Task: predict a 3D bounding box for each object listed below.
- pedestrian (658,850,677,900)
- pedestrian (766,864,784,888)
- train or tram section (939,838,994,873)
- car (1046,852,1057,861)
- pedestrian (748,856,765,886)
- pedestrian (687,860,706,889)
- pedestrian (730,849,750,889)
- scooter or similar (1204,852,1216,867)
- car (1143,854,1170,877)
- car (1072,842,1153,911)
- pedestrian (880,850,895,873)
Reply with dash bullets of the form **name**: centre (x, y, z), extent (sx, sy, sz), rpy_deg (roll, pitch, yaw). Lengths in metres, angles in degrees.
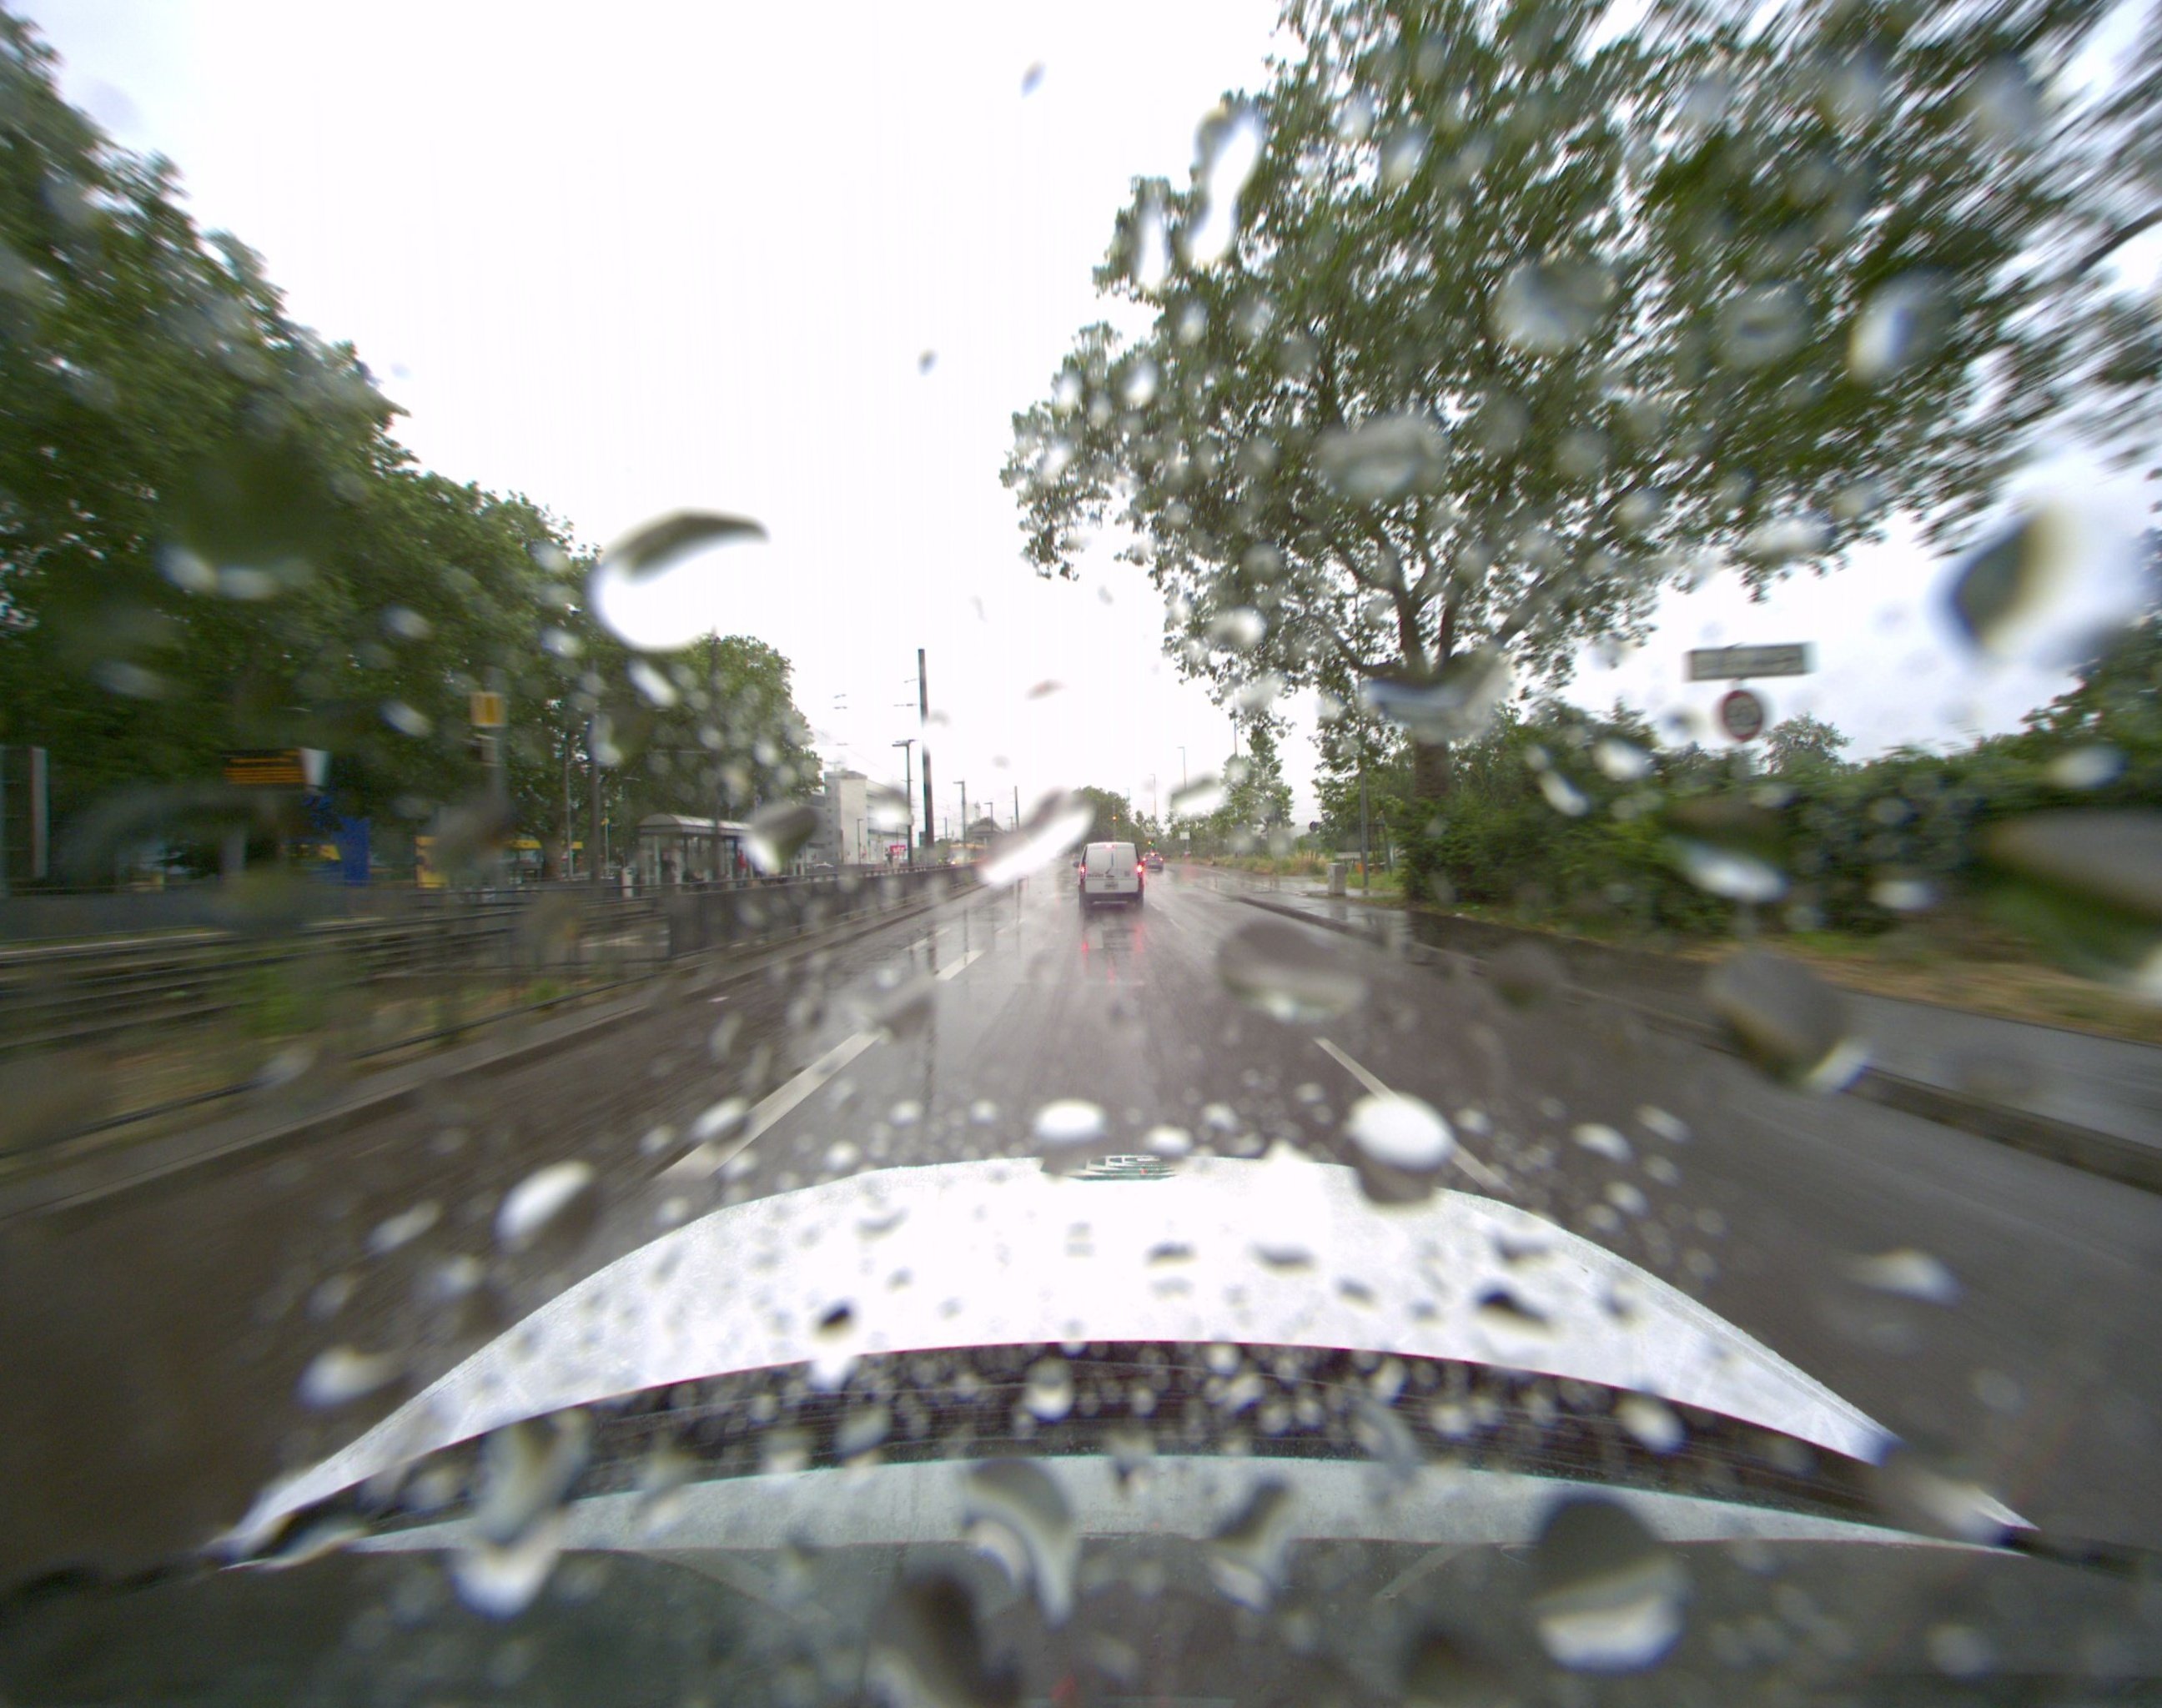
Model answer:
- **pedestrian**: centre (-16.995, 0.849, 33.464), extent (0.491, 2.014, 0.583), rpy_deg (0, -1, 1)
- **pedestrian**: centre (-17.068, 1.206, 45.493), extent (0.640, 1.303, 0.815), rpy_deg (0, 0, 5)
- **train or tram section**: centre (-14.713, 0.241, 107.905), extent (3.759, 4.036, 27.081), rpy_deg (0, 0, -1)
- **car**: centre (-5.776, 0.579, 161.108), extent (1.990, 1.750, 3.993), rpy_deg (0, 0, -5)
- **pedestrian**: centre (-17.125, 0.892, 42.979), extent (0.829, 1.561, 0.667), rpy_deg (0, -1, -25)
- **pedestrian**: centre (-16.865, 0.881, 35.704), extent (0.491, 1.267, 0.665), rpy_deg (0, -1, 5)
- **pedestrian**: centre (-16.702, 0.749, 39.881), extent (0.618, 1.933, 0.815), rpy_deg (0, -1, 5)
- **scooter or similar**: centre (10.538, 0.433, 66.404), extent (0.641, 1.195, 1.562), rpy_deg (-2, 0, -1)
- **car**: centre (5.945, 0.875, 64.552), extent (1.985, 1.750, 4.003), rpy_deg (0, 0, 3)
- **car**: centre (0.795, 0.593, 23.150), extent (2.019, 1.775, 4.271), rpy_deg (0, 0, -1)
- **pedestrian**: centre (-17.236, 0.631, 72.577), extent (1.084, 2.014, 1.096), rpy_deg (0, 0, 0)
